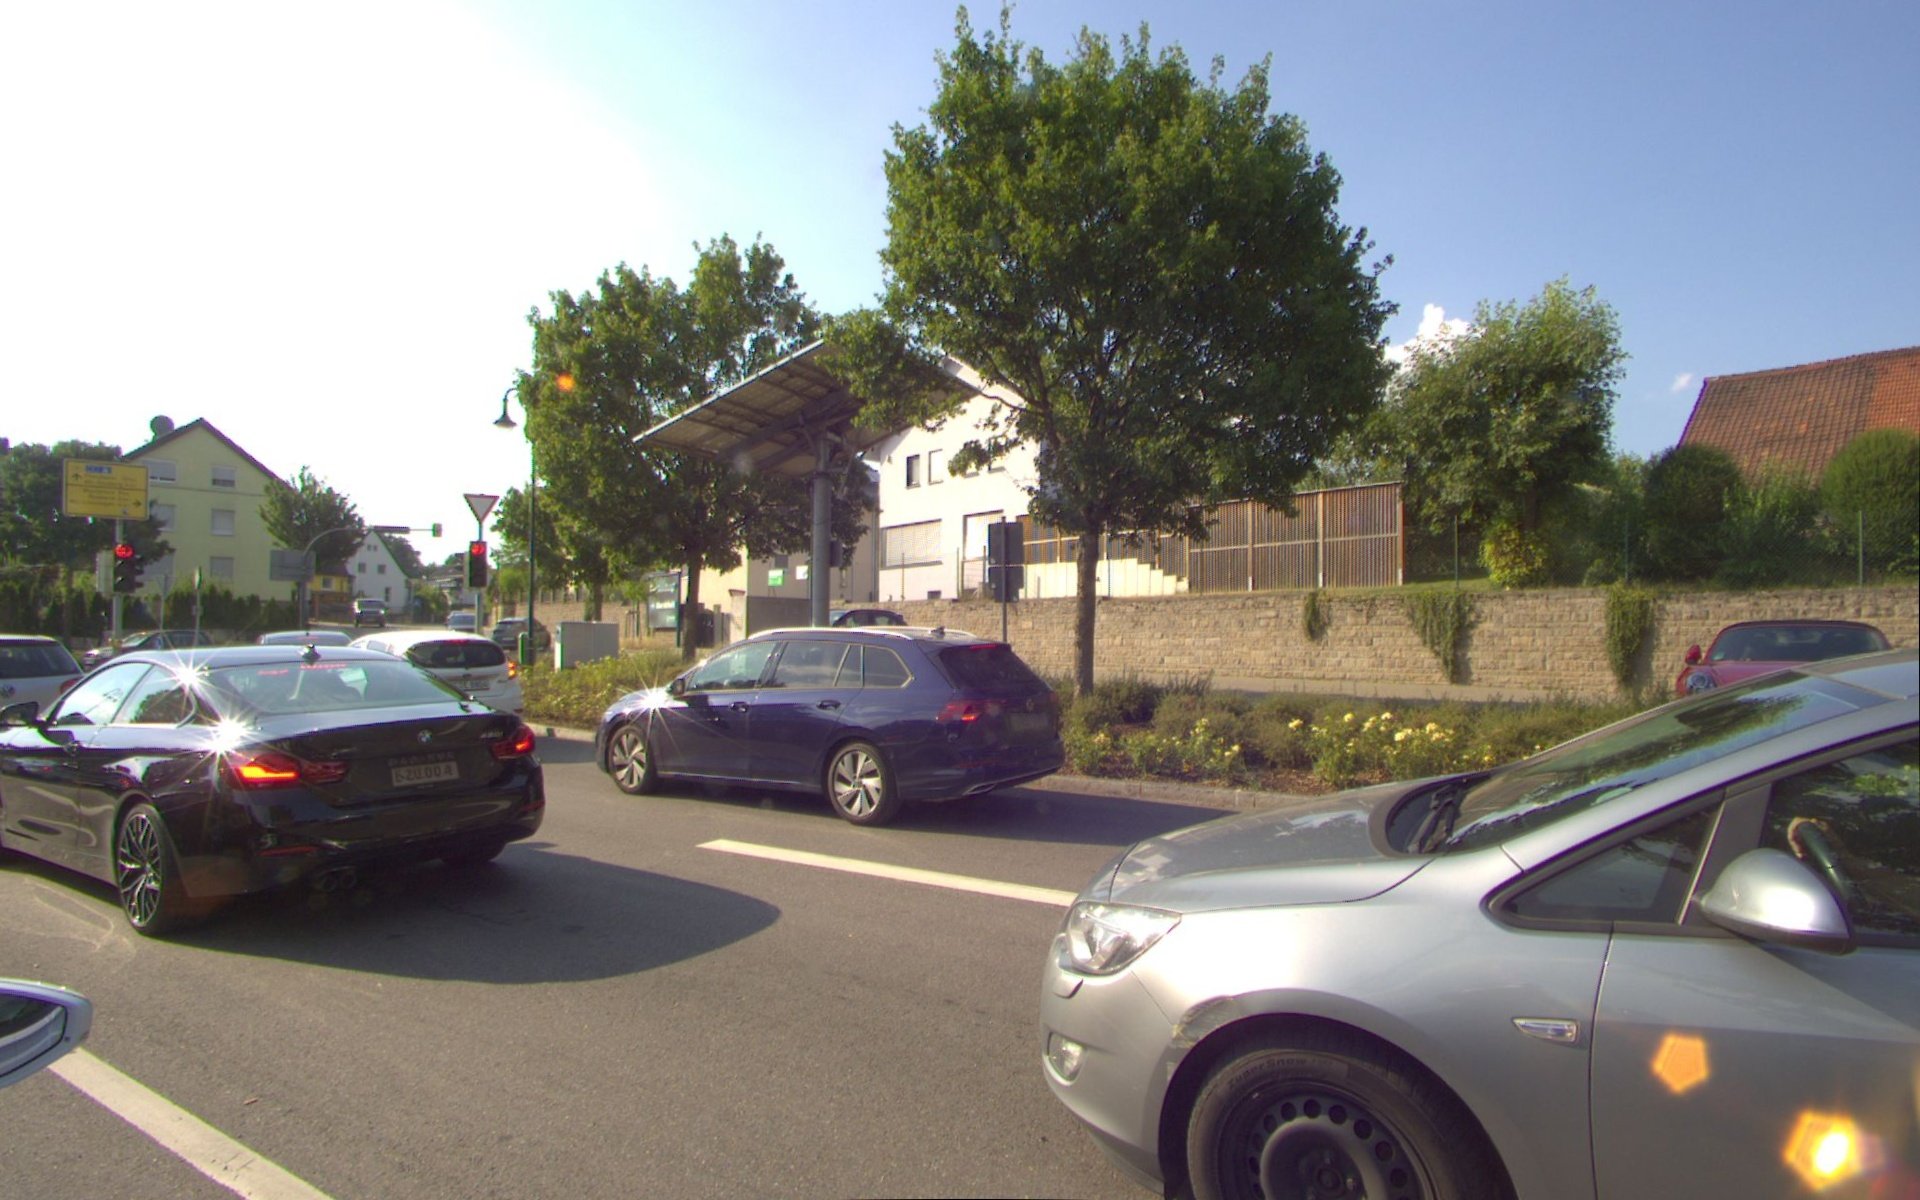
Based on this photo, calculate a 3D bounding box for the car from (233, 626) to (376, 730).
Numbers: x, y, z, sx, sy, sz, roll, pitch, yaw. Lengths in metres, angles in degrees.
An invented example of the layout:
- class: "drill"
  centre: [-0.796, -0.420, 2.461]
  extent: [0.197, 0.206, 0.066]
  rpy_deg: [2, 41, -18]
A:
- class: "car"
  centre: [-11.739, 1.273, 17.812]
  extent: [1.643, 1.562, 4.362]
  rpy_deg: [0, 0, -40]

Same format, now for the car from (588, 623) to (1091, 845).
- class: "car"
  centre: [-1.166, 0.951, 8.707]
  extent: [4.260, 1.472, 1.757]
  rpy_deg: [-1, 0, 35]

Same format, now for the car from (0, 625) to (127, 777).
- class: "car"
  centre: [-10.792, 1.013, 10.777]
  extent: [3.848, 1.444, 1.758]
  rpy_deg: [-1, 0, 33]

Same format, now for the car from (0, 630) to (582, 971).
- class: "car"
  centre: [-4.422, 0.915, 6.184]
  extent: [4.220, 1.416, 1.758]
  rpy_deg: [-1, 0, 33]

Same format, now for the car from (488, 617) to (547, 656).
- class: "car"
  centre: [-20.510, 1.678, 46.571]
  extent: [1.936, 1.701, 4.209]
  rpy_deg: [0, -1, -16]

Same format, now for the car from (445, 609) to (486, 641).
- class: "car"
  centre: [-26.808, 1.379, 54.252]
  extent: [1.821, 1.662, 4.411]
  rpy_deg: [1, -2, -28]

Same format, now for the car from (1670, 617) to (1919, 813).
- class: "car"
  centre: [8.238, 0.954, 9.742]
  extent: [1.758, 1.510, 4.120]
  rpy_deg: [-1, -2, 41]

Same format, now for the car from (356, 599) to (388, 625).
- class: "car"
  centre: [-42.159, 0.879, 71.753]
  extent: [1.824, 1.761, 4.756]
  rpy_deg: [1, -2, -33]

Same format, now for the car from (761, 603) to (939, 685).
- class: "car"
  centre: [-2.363, 0.964, 22.295]
  extent: [1.758, 1.653, 3.800]
  rpy_deg: [-1, -2, 40]

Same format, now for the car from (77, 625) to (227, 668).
- class: "car"
  centre: [-30.058, 1.721, 37.363]
  extent: [1.821, 1.508, 3.983]
  rpy_deg: [-1, -2, 30]

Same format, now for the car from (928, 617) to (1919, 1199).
- class: "car"
  centre: [2.186, 0.783, 2.159]
  extent: [4.256, 1.472, 1.758]
  rpy_deg: [-1, 0, 31]

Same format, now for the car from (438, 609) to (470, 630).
- class: "car"
  centre: [-43.508, 1.685, 86.024]
  extent: [1.945, 1.701, 4.189]
  rpy_deg: [0, -1, -34]

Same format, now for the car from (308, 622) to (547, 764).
- class: "car"
  centre: [-6.904, 1.082, 12.885]
  extent: [3.278, 1.562, 1.611]
  rpy_deg: [-1, 0, 40]
